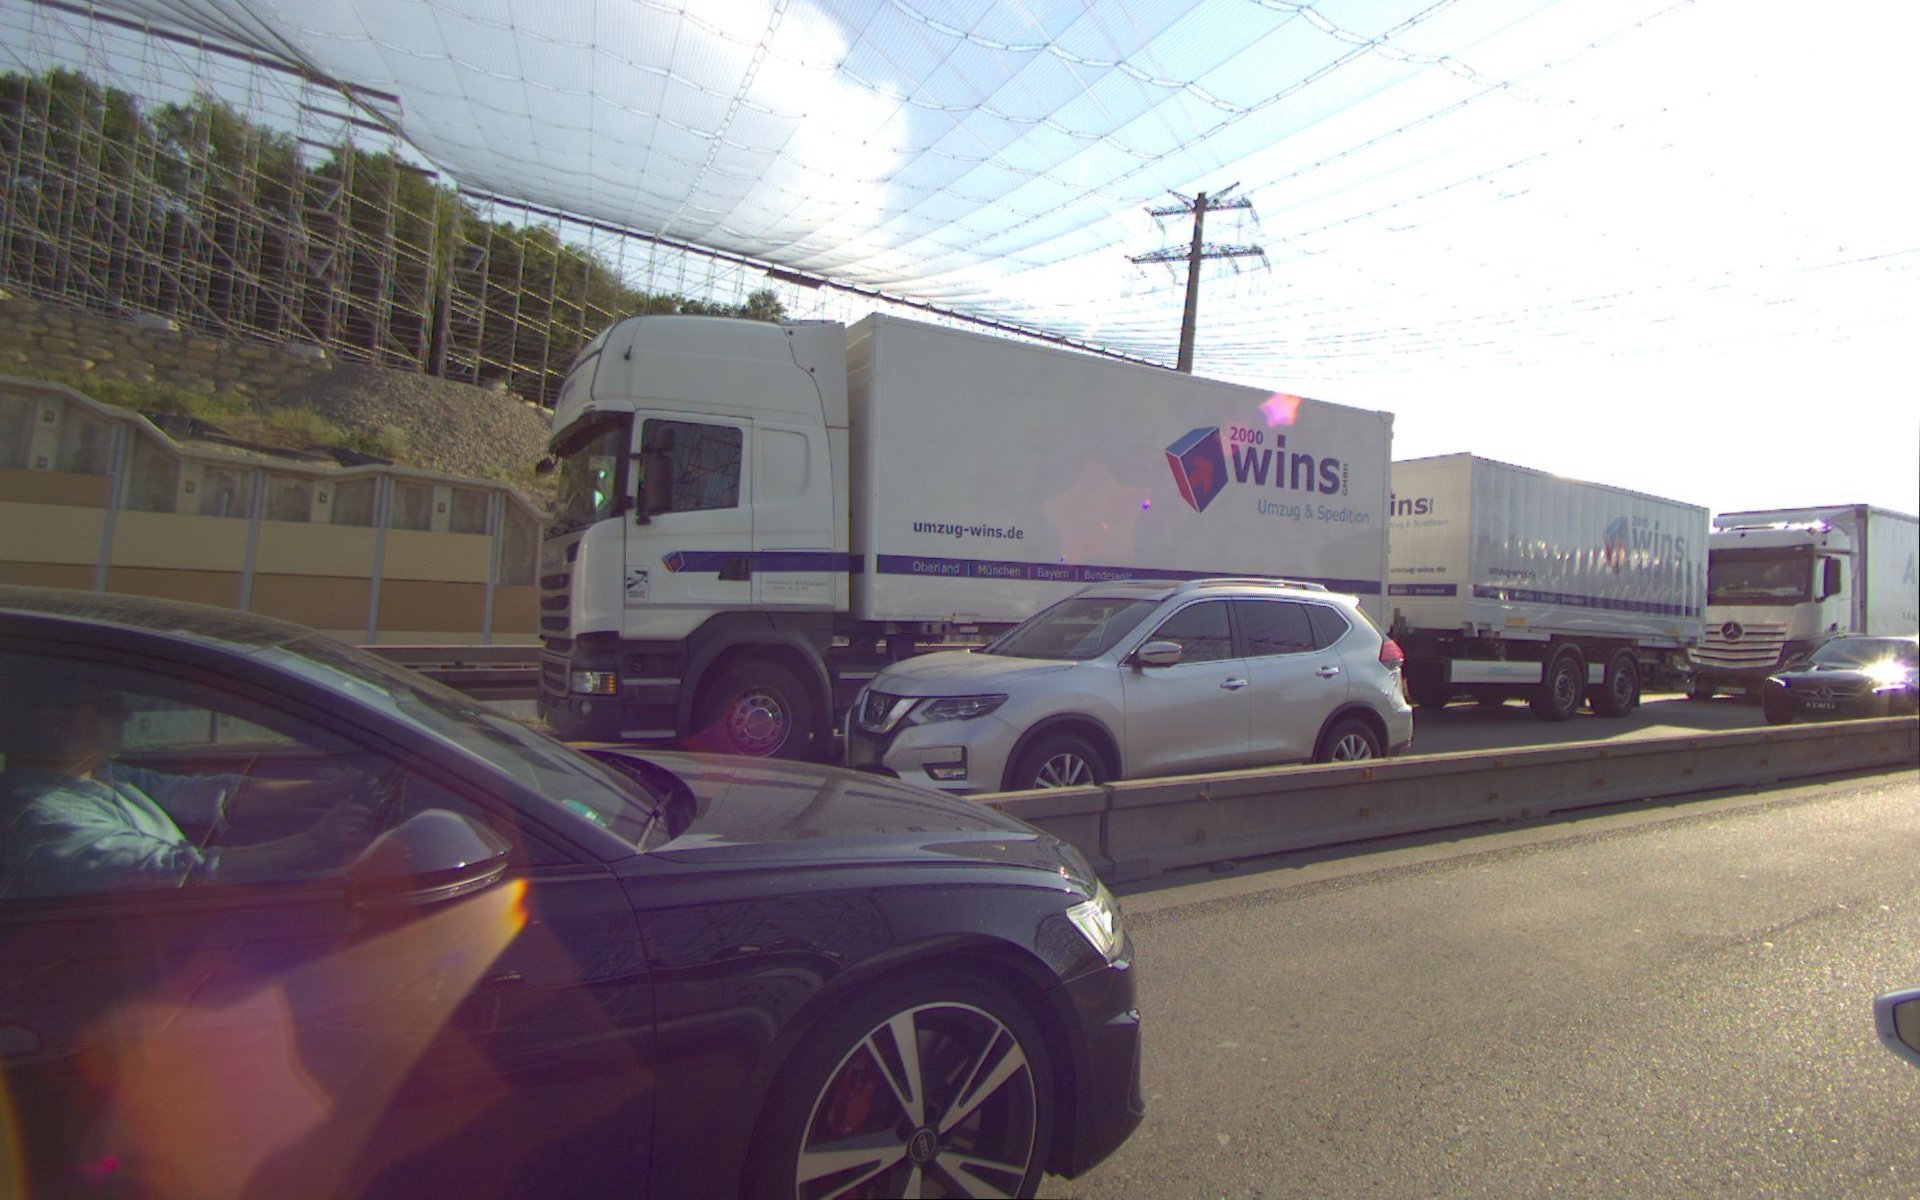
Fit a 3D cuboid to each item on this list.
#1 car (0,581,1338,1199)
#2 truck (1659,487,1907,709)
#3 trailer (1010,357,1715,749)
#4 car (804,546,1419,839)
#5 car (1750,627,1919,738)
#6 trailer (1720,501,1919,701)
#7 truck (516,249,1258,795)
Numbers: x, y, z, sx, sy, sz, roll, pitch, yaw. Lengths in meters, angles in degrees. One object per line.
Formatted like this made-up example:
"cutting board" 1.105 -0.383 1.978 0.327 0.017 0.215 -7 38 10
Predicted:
"car" -1.658 0.685 2.140 4.901 1.417 1.925 1 0 -30
"truck" 17.400 0.031 21.157 5.558 4.099 2.458 2 0 -34
"trailer" 6.913 -0.312 15.120 13.189 4.069 2.654 2 0 -33
"car" 1.225 0.554 7.357 4.318 1.589 1.798 2 0 -32
"car" 14.489 1.227 15.842 4.613 1.469 1.767 2 0 -33
"trailer" 23.273 0.208 25.066 13.952 4.016 2.413 2 0 -34
"truck" -0.476 -0.475 10.298 7.123 3.962 2.617 2 0 -32
